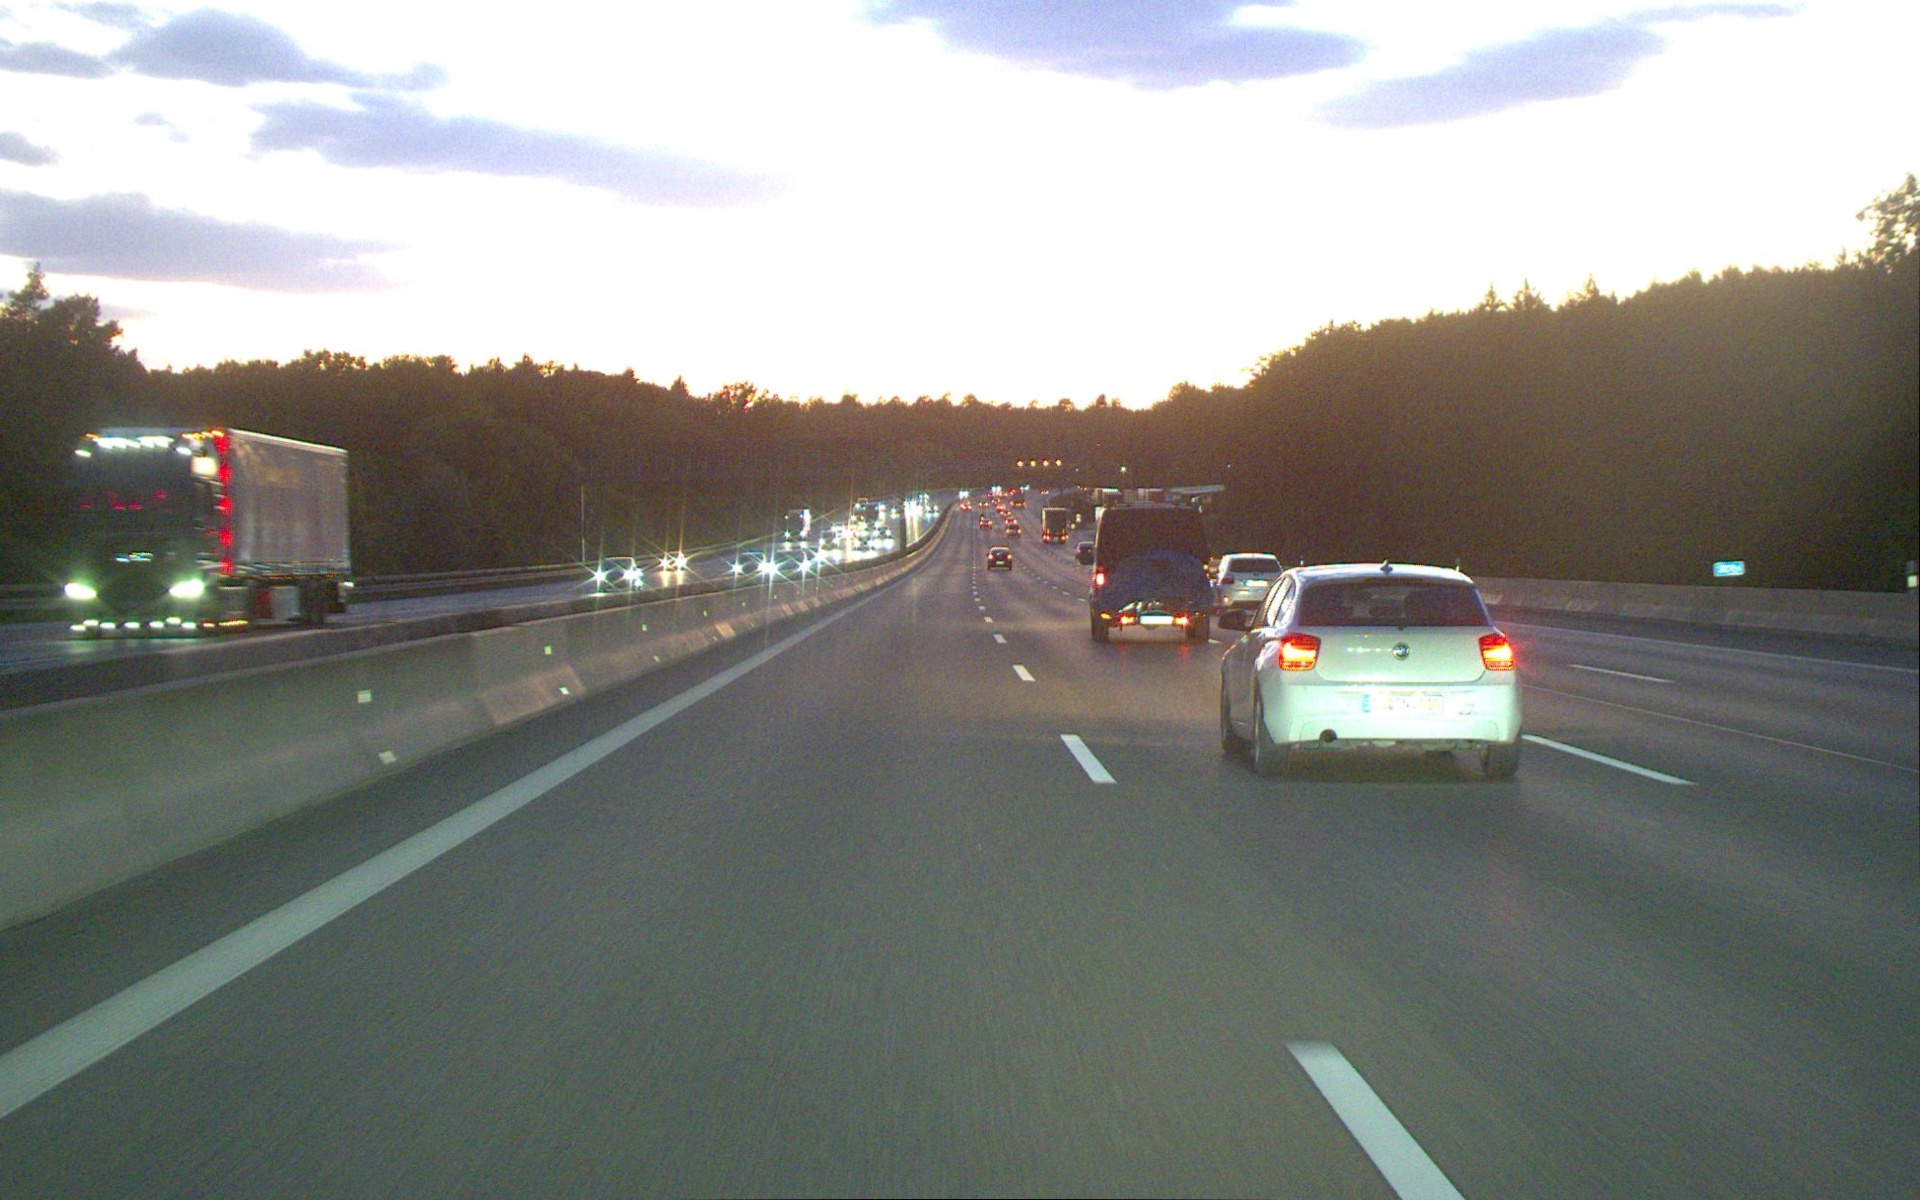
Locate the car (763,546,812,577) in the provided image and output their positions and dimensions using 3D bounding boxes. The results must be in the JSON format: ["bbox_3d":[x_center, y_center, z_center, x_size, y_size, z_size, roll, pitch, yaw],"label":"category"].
[{"bbox_3d":[-8.041,-1.784,160.230,1.993,1.420,5.145,0,1,0],"label":"car"}]

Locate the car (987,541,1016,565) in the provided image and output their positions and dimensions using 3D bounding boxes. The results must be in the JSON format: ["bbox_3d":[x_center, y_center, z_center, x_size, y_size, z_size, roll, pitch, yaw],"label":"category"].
[{"bbox_3d":[2.795,-3.163,230.050,1.836,1.565,4.000,0,1,2],"label":"car"}]

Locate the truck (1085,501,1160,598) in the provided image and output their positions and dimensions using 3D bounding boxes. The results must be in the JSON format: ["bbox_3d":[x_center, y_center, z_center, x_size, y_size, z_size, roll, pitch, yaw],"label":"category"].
[{"bbox_3d":[10.082,-3.151,214.930,4.149,5.836,14.296,0,1,1],"label":"truck"}]

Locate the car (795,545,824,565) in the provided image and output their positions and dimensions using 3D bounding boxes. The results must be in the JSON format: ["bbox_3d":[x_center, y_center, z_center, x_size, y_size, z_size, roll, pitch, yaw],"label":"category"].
[{"bbox_3d":[-10.907,-3.294,249.410,1.836,1.433,4.000,0,1,0],"label":"car"}]

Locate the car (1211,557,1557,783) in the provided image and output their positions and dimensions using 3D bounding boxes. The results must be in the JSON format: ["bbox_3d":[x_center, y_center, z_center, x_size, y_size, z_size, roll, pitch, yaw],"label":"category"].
[{"bbox_3d":[2.870,0.465,24.032,1.859,1.437,3.720,1,0,-1],"label":"car"}]

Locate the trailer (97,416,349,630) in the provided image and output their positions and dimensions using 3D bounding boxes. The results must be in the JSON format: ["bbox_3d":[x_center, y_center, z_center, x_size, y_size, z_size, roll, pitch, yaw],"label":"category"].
[{"bbox_3d":[-15.471,-1.588,73.397,2.649,4.117,14.328,0,1,-1],"label":"trailer"}]

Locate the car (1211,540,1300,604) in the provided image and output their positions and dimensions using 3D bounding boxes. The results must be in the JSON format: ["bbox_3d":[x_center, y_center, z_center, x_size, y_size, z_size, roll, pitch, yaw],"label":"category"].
[{"bbox_3d":[7.264,-0.704,84.856,2.008,1.533,4.000,0,1,2],"label":"car"}]

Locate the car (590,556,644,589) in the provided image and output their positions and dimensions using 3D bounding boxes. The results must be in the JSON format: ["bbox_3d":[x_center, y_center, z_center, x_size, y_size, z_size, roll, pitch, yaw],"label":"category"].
[{"bbox_3d":[-14.999,-1.221,150.499,1.912,1.420,4.747,0,1,-1],"label":"car"}]

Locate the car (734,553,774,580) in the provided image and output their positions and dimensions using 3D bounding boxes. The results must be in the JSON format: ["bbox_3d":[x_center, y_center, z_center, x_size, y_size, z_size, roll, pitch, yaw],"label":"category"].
[{"bbox_3d":[-11.145,-1.832,186.230,1.848,1.409,4.791,0,1,0],"label":"car"}]

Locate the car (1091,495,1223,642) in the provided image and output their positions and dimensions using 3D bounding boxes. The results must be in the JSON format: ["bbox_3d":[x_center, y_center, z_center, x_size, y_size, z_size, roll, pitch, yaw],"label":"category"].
[{"bbox_3d":[3.362,-0.555,59.512,2.166,2.410,5.564,0,1,2],"label":"car"}]

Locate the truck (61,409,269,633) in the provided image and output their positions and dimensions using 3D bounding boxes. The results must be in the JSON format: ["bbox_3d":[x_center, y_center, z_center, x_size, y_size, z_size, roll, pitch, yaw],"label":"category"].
[{"bbox_3d":[-15.301,-1.495,66.581,2.649,4.117,6.525,0,1,-1],"label":"truck"}]
